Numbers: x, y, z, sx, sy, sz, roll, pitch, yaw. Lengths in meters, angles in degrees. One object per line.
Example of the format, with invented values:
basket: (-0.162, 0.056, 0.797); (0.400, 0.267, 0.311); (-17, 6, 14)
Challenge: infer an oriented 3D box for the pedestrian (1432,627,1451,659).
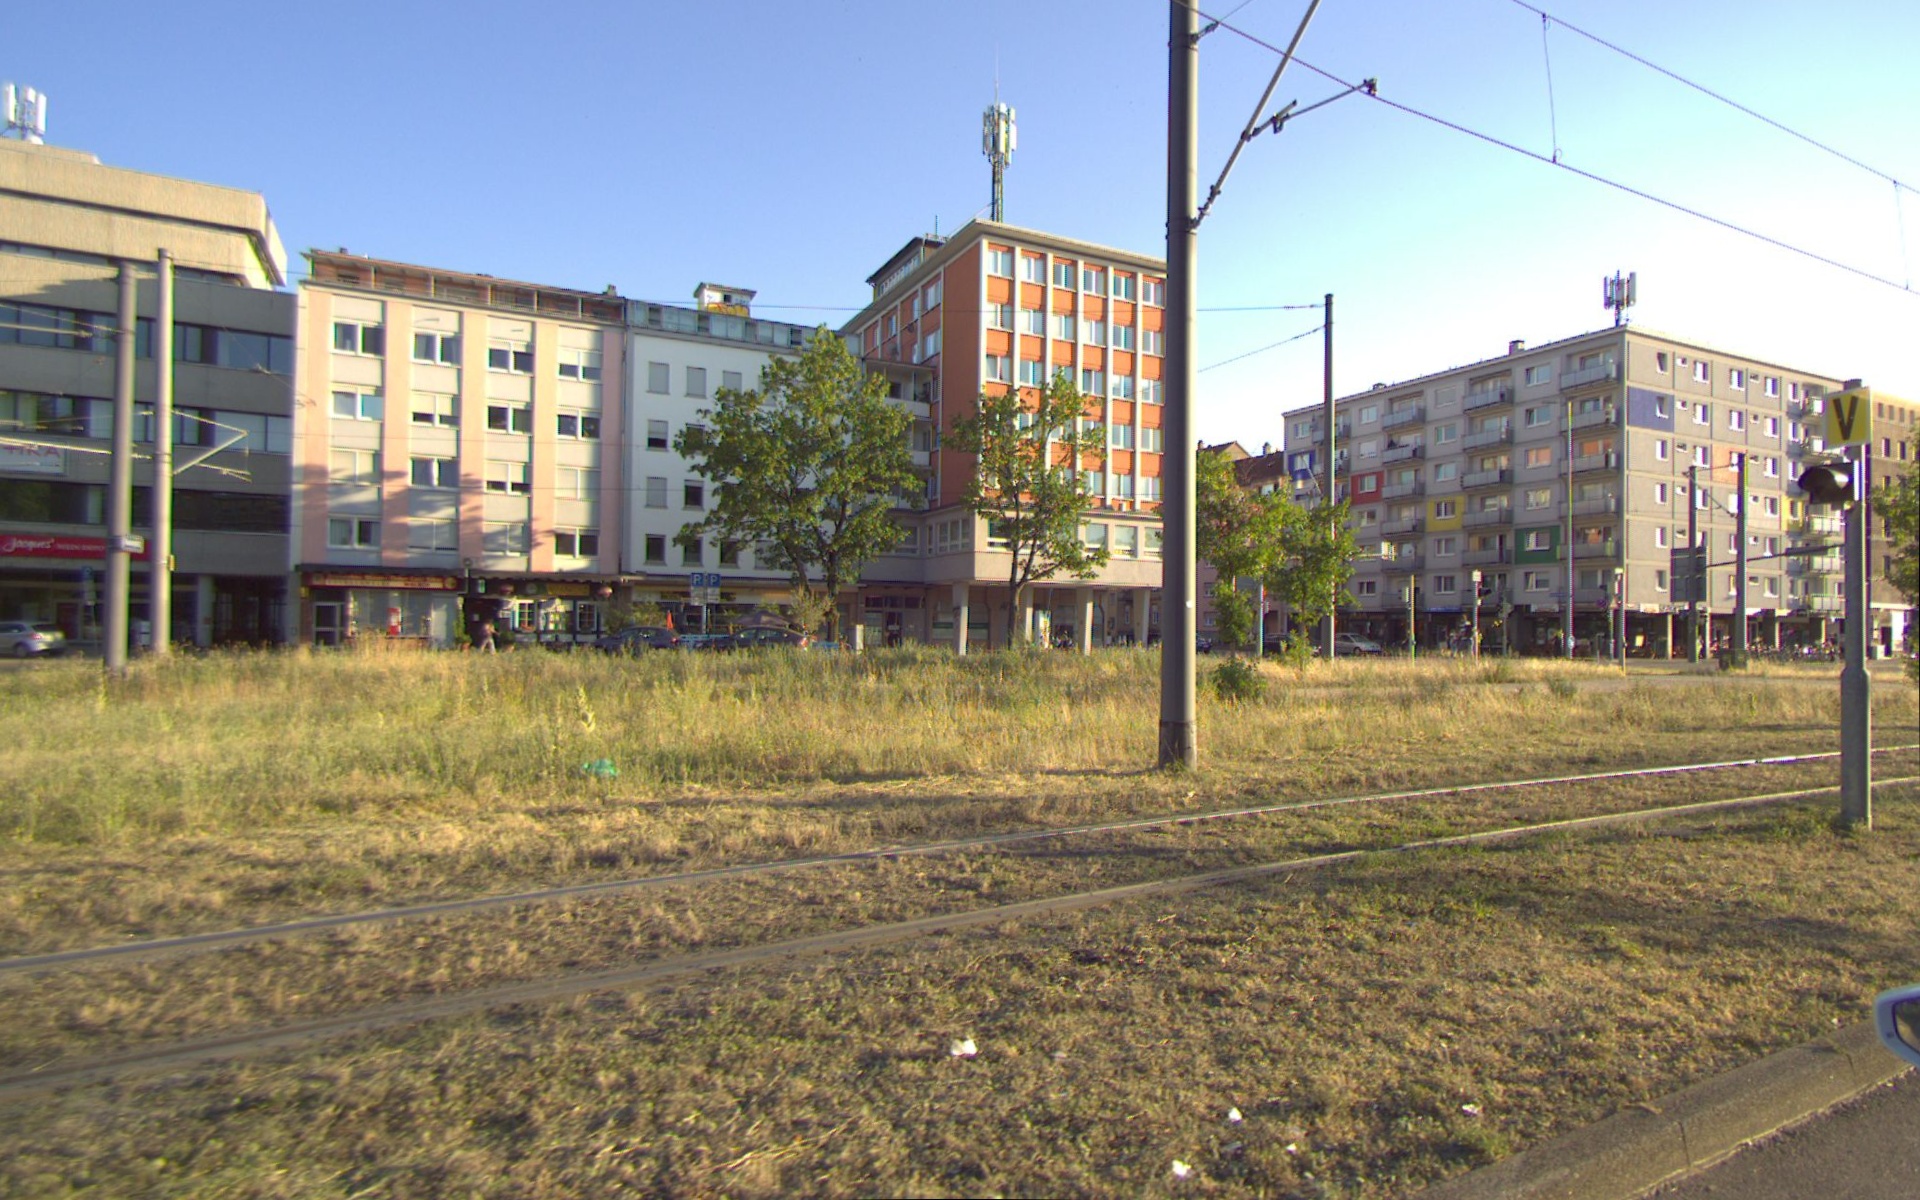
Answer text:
pedestrian: (28.794, 2.551, 60.076); (0.727, 1.876, 0.702); (0, -1, -26)

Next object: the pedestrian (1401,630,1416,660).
pedestrian: (25.178, 2.534, 56.405); (0.607, 1.651, 0.512); (0, -1, -26)

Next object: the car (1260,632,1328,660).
car: (20.955, 2.864, 63.103); (1.783, 1.606, 3.845); (0, -1, -31)

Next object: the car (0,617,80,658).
car: (-38.182, 1.502, 40.438); (3.921, 1.572, 1.760); (0, -1, -1)

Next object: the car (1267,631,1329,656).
car: (23.359, 2.984, 69.530); (1.783, 1.606, 3.845); (0, -1, -31)

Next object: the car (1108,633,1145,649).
car: (17.098, 4.200, 103.296); (1.783, 1.606, 3.845); (0, -1, -31)

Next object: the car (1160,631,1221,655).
car: (16.690, 3.110, 72.905); (1.966, 1.606, 4.258); (0, -1, -31)

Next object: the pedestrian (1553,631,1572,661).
pedestrian: (34.816, 2.637, 58.045); (0.767, 1.692, 0.741); (-1, -1, 14)

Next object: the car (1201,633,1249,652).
car: (24.279, 3.866, 92.064); (1.783, 1.606, 4.264); (0, -1, -31)

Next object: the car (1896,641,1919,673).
car: (50.103, 2.961, 52.126); (1.690, 1.453, 3.986); (1, 1, 36)

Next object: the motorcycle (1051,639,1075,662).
motorcycle: (5.127, 2.523, 50.074); (0.524, 1.082, 1.444); (0, -1, -27)

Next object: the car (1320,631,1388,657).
car: (25.730, 2.884, 65.745); (1.783, 1.606, 3.845); (0, -1, -31)

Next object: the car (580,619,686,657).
car: (-13.669, 1.585, 42.137); (3.923, 1.547, 1.759); (0, -1, -4)

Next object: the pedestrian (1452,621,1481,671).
pedestrian: (18.118, 1.641, 35.942); (0.638, 1.786, 0.721); (0, -1, -5)

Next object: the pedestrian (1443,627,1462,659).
pedestrian: (28.991, 2.533, 59.092); (0.811, 1.872, 0.600); (0, -1, -26)

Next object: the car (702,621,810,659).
car: (-8.530, 1.657, 42.255); (4.209, 1.547, 1.759); (0, -1, -4)

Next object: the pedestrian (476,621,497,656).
pedestrian: (-21.634, 1.744, 45.878); (0.843, 1.548, 1.113); (0, -1, -29)
